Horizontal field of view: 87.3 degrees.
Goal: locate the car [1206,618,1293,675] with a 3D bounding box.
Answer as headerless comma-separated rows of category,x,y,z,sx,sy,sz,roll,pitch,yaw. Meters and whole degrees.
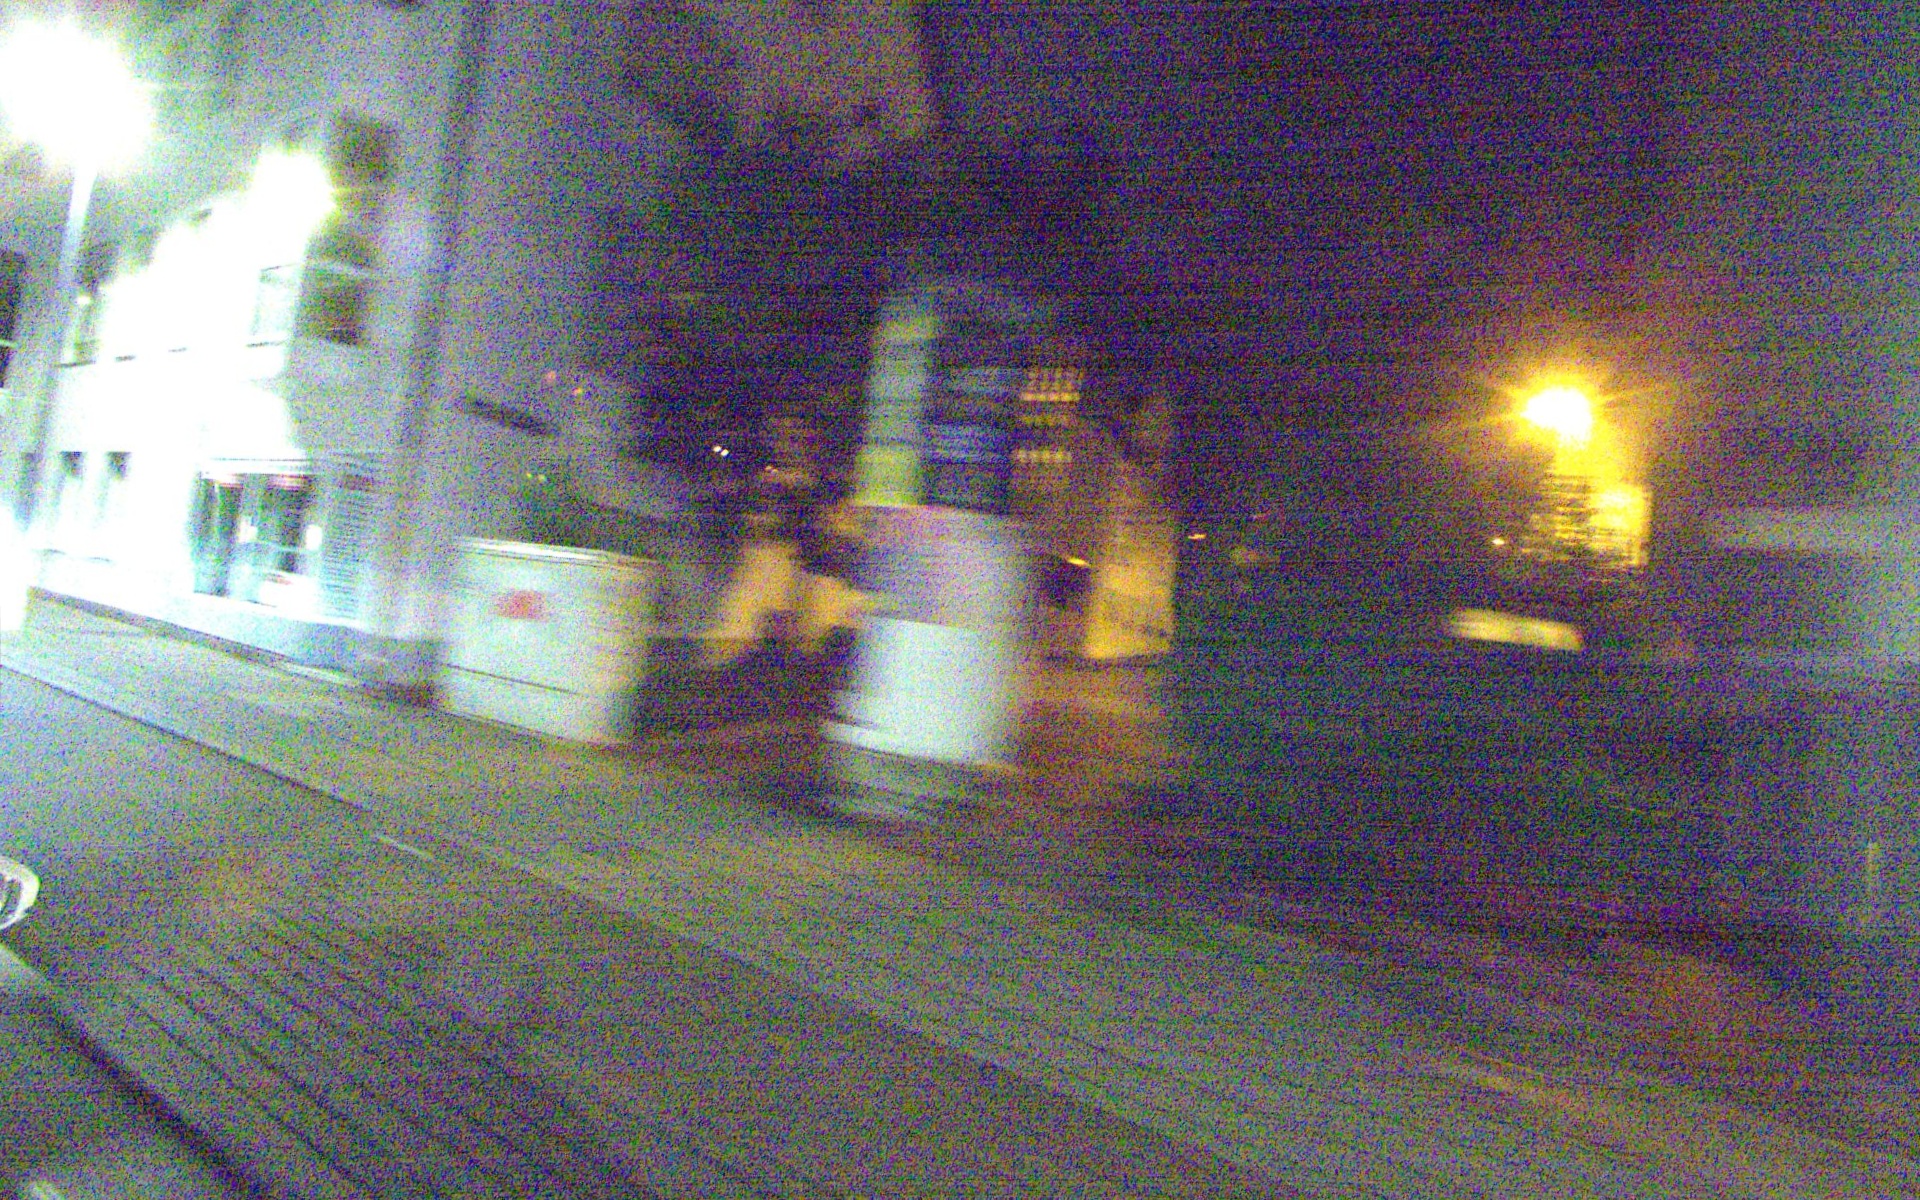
car,8.739,1.370,30.169,1.698,1.454,3.804,6,1,27
